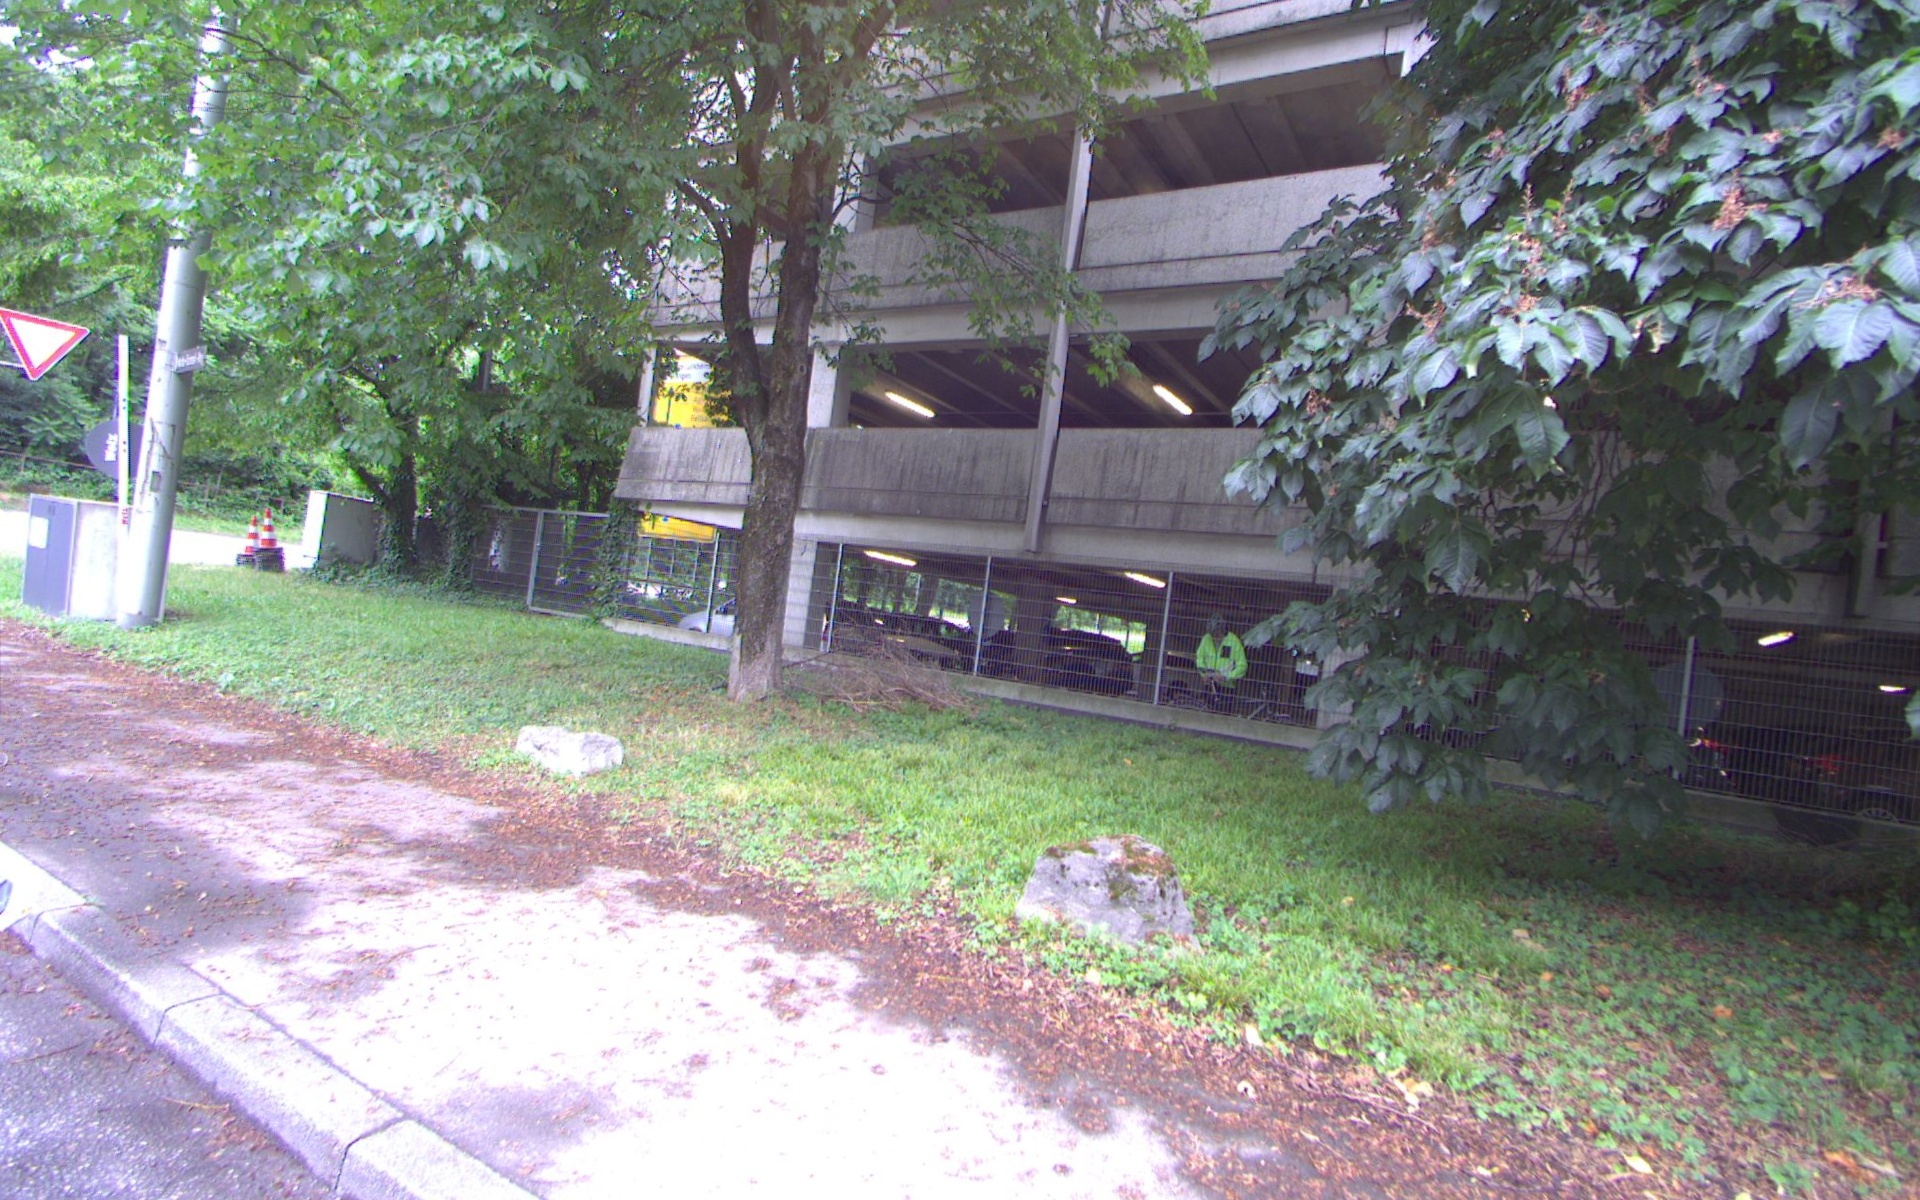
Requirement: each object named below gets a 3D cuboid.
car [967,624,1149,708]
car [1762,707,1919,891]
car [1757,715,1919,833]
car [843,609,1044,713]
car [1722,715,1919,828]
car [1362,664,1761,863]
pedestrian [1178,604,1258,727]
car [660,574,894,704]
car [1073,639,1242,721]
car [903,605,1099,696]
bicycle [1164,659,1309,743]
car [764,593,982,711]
[{"bbox_3d":[2.432,1.634,25.146,3.934,1.569,1.998,5,-3,32],"label":"car"},{"bbox_3d":[12.678,2.619,12.462,3.935,2.036,1.997,5,-3,33],"label":"car"},{"bbox_3d":[15.618,2.953,16.510,3.640,1.625,1.721,5,-3,30],"label":"car"},{"bbox_3d":[-0.366,1.256,20.876,3.658,1.682,1.734,5,-3,32],"label":"car"},{"bbox_3d":[16.608,3.204,18.645,3.640,1.625,1.721,5,-3,30],"label":"car"},{"bbox_3d":[8.627,2.258,14.831,4.597,2.036,1.998,5,-3,31],"label":"car"},{"bbox_3d":[3.006,0.766,11.710,0.626,1.332,0.642,5,-3,31],"label":"pedestrian"},{"bbox_3d":[-3.107,0.634,16.894,3.658,1.727,1.484,5,-3,32],"label":"car"},{"bbox_3d":[6.147,2.491,31.548,4.658,1.855,1.923,6,-3,33],"label":"car"},{"bbox_3d":[0.931,1.152,23.213,3.934,1.569,1.998,5,-3,32],"label":"car"},{"bbox_3d":[3.125,1.137,11.374,1.469,0.744,0.448,6,-3,24],"label":"bicycle"},{"bbox_3d":[-1.660,0.949,18.820,3.707,1.727,1.584,5,-3,32],"label":"car"}]
